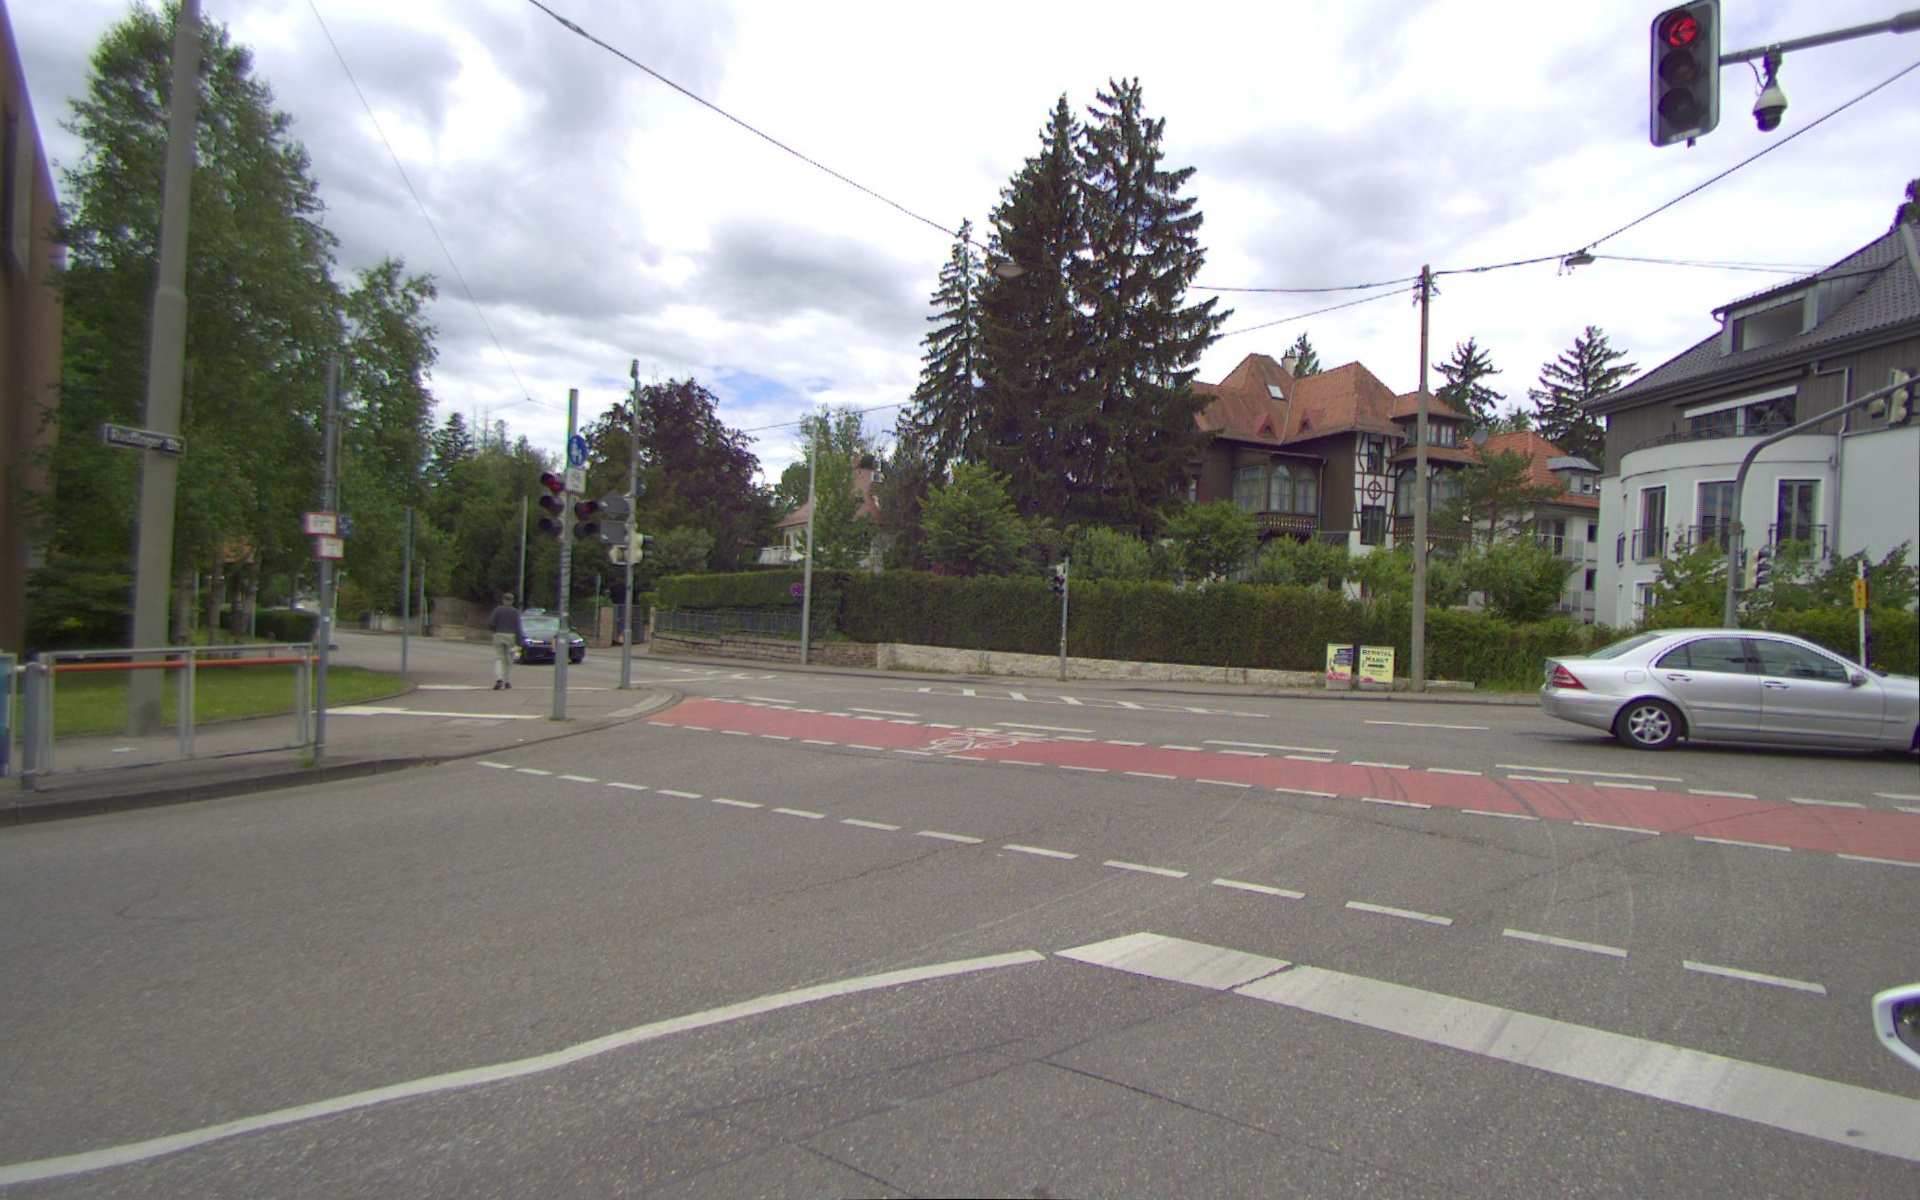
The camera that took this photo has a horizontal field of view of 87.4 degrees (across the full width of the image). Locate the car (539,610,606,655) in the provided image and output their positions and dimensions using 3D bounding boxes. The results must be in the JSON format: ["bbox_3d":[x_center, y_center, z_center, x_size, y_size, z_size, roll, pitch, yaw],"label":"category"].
[{"bbox_3d":[-17.370,1.435,44.856,1.897,1.905,5.099,2,-2,-31],"label":"car"}]

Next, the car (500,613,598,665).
[{"bbox_3d":[-13.019,1.199,31.712,1.816,1.556,3.955,2,-2,-39],"label":"car"}]

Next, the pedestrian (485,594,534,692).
[{"bbox_3d":[-7.872,0.737,17.542,0.676,1.655,0.733,0,-1,-34],"label":"pedestrian"}]

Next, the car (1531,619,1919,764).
[{"bbox_3d":[9.235,0.979,11.777,4.344,1.432,1.707,1,0,28],"label":"car"}]
